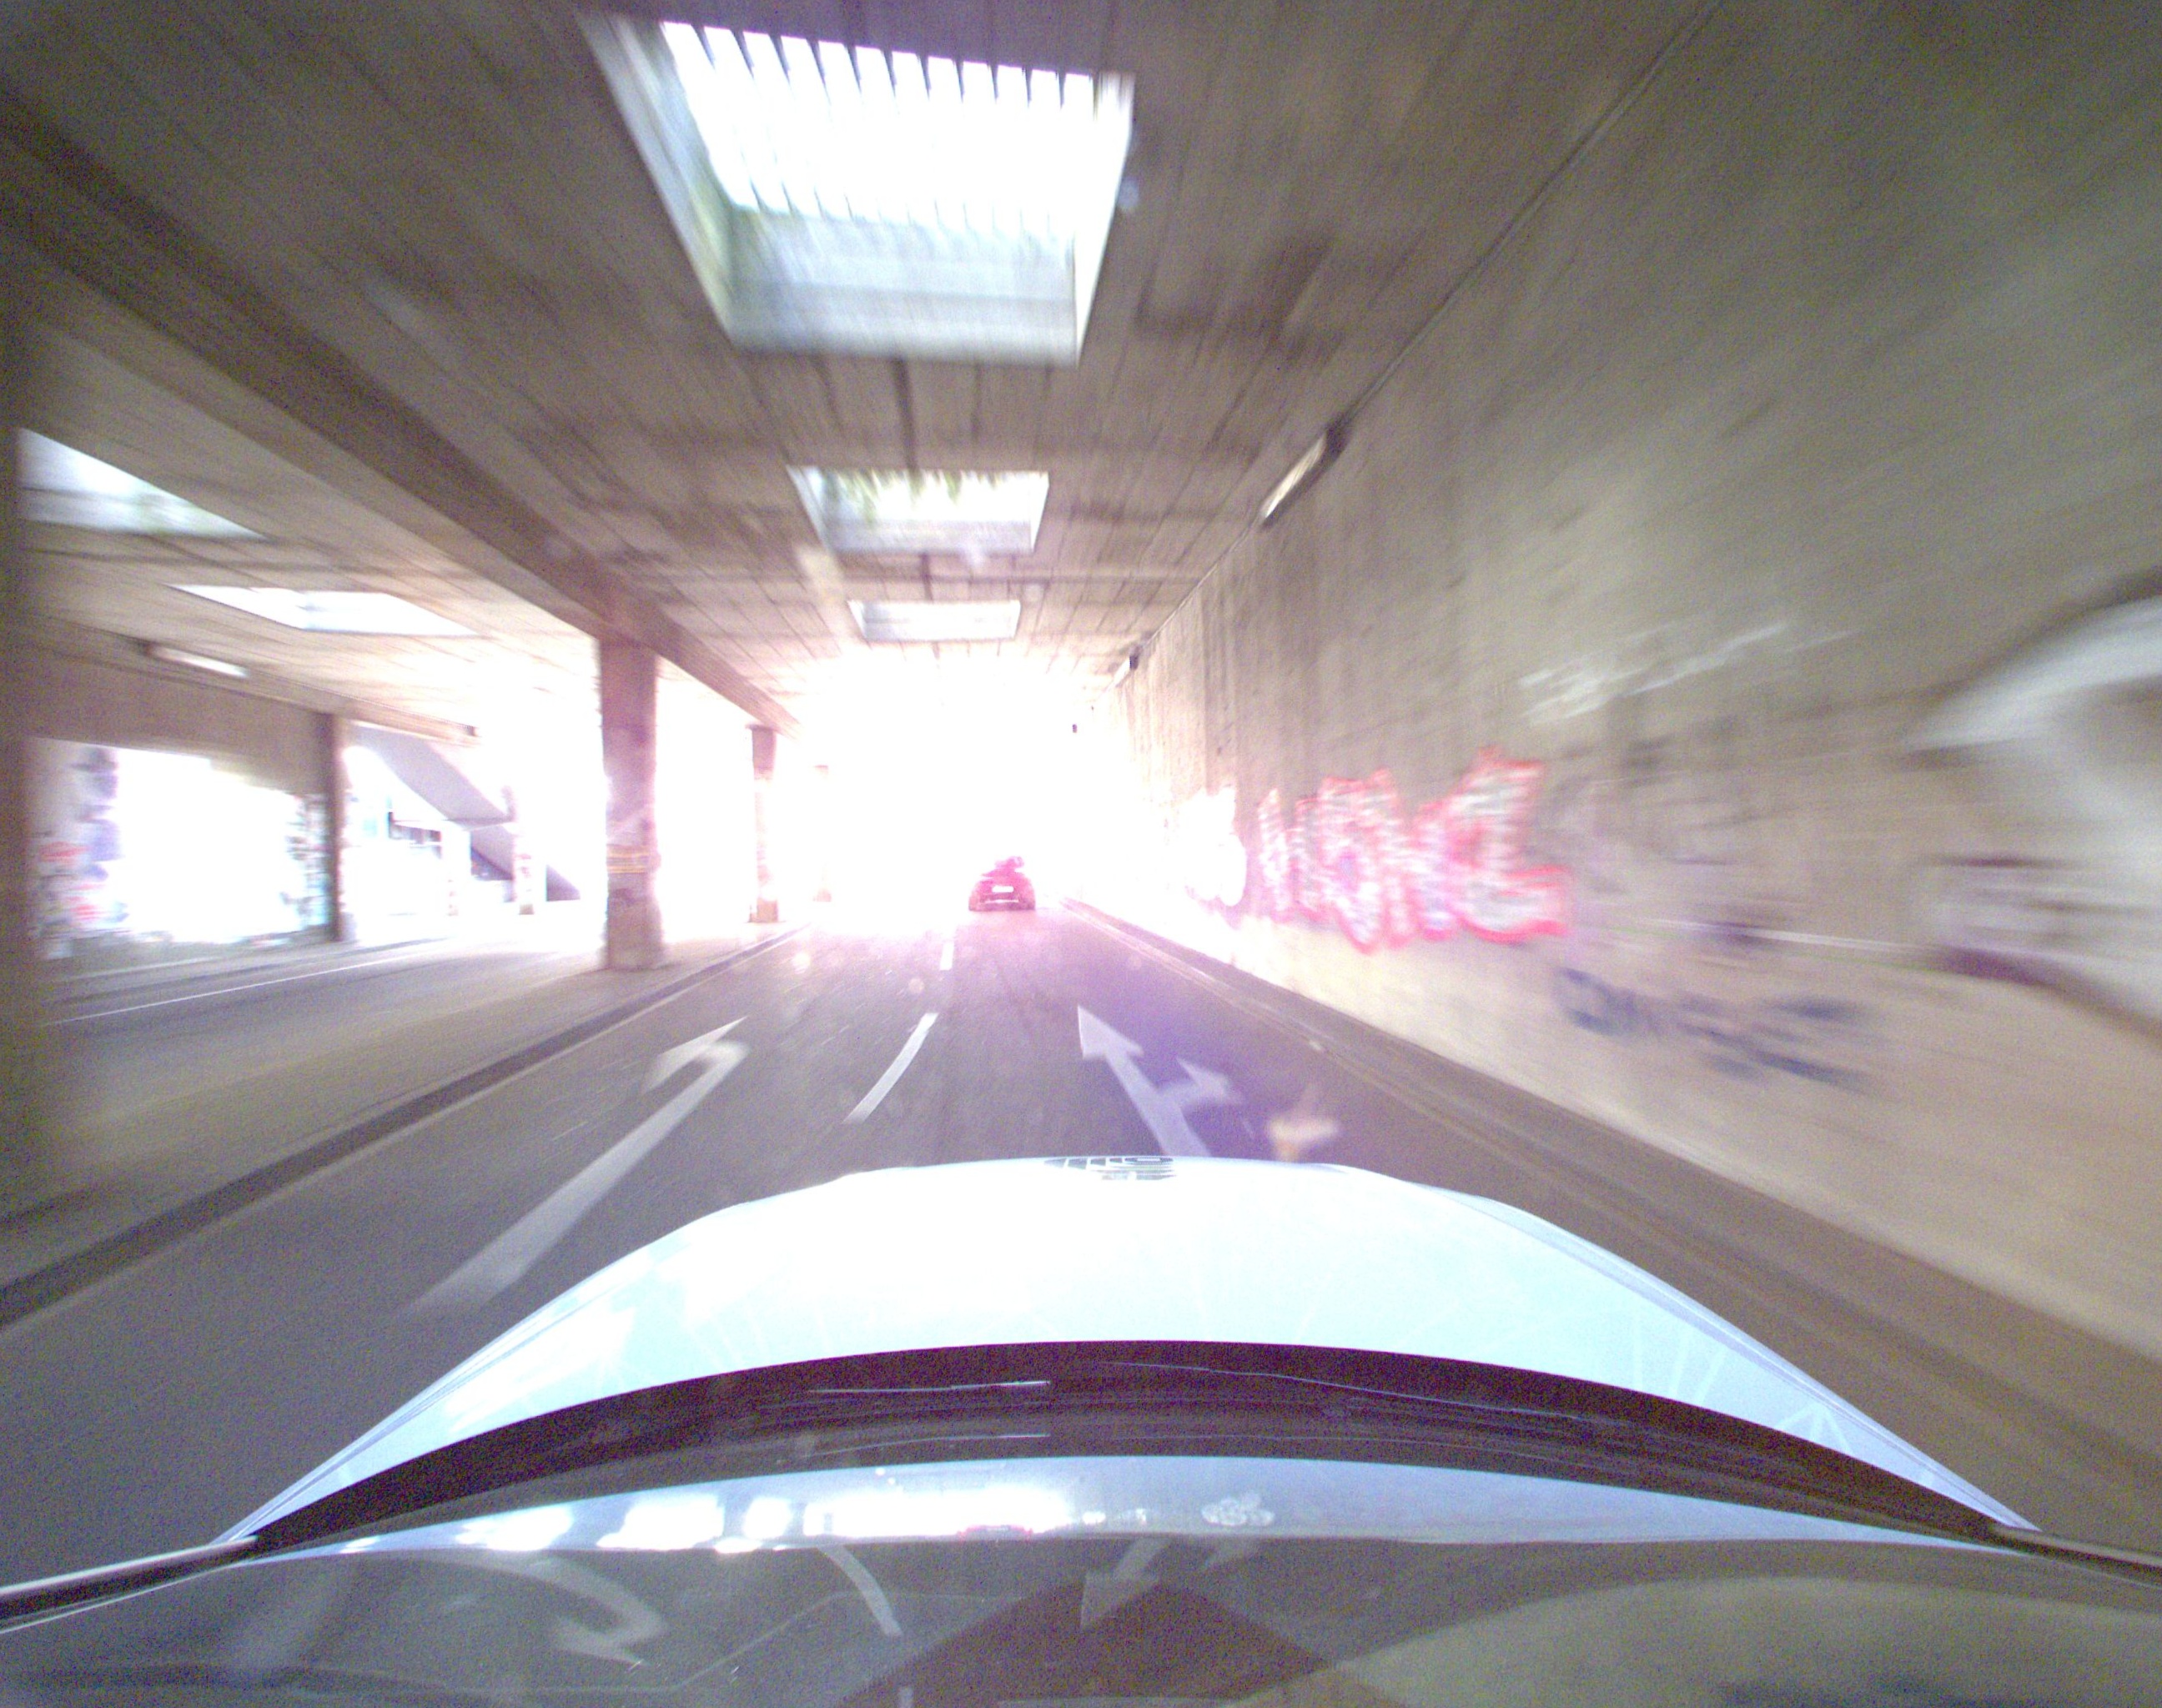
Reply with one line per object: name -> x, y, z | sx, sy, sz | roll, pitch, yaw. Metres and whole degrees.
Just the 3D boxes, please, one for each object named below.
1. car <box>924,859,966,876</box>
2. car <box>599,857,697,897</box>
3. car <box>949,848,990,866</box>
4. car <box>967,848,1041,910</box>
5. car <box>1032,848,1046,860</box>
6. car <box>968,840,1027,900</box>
car -> -14.006, 1.430, 83.998 | 3.980, 1.574, 1.637 | -2, 0, -5
car -> -25.055, 1.290, 47.298 | 4.478, 2.013, 1.995 | -2, 3, -9
car -> -12.131, 0.332, 88.708 | 4.139, 1.738, 1.999 | -3, 1, -2
car -> -2.236, 0.626, 22.809 | 1.825, 1.501, 4.200 | -2, 1, -8
car -> -7.968, 0.022, 153.467 | 1.984, 2.013, 4.274 | -3, 1, 4
car -> -3.057, 0.517, 28.976 | 1.814, 1.882, 4.572 | -3, 1, -8
